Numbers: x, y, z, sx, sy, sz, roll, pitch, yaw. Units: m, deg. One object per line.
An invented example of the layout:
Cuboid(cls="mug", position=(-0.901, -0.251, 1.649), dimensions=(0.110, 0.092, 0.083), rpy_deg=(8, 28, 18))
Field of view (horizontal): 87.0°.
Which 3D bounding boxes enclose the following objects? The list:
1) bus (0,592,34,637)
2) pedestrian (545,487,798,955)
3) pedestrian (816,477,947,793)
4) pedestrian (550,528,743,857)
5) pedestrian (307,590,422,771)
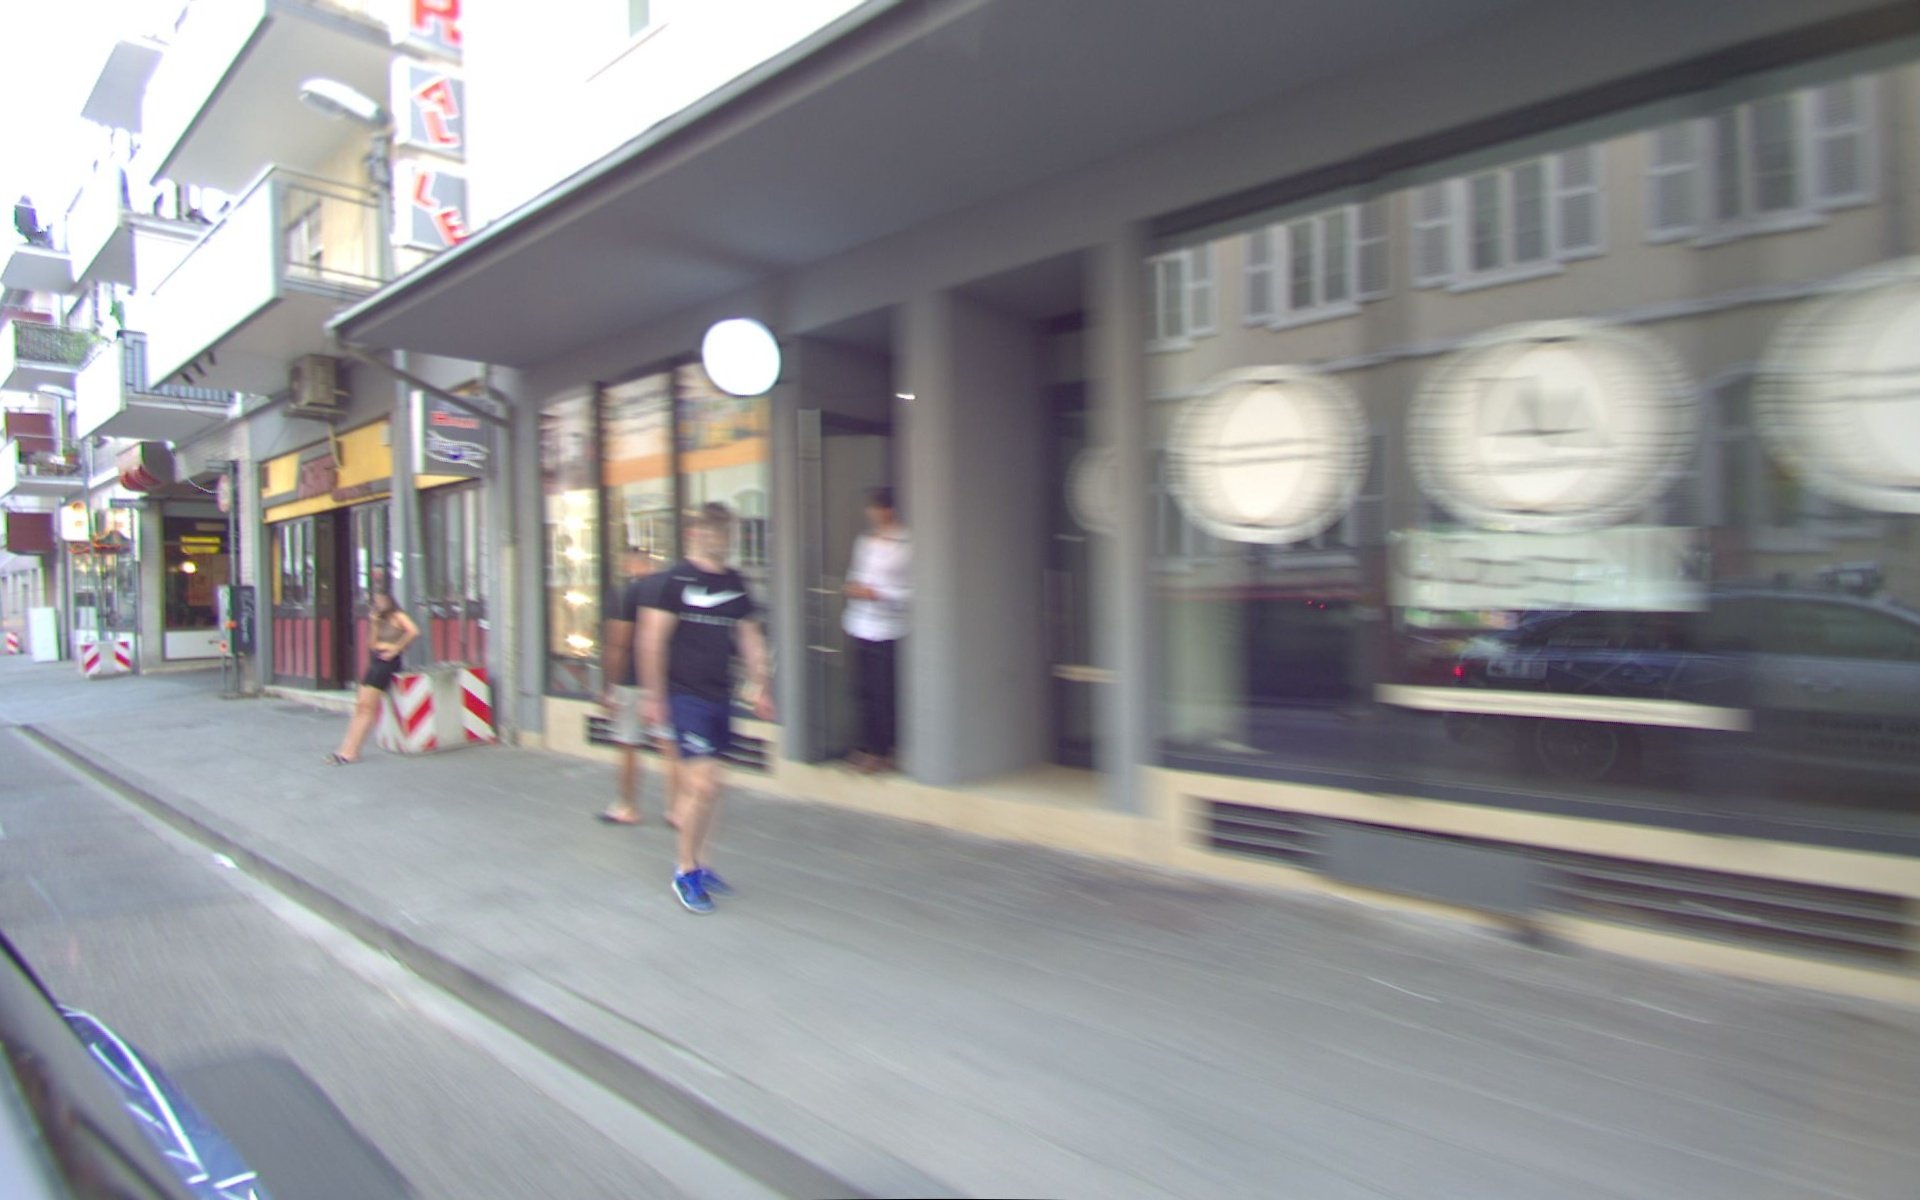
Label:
Cuboid(cls="bus", position=(-75.769, 1.068, 73.373), dimensions=(3.893, 3.350, 12.459), rpy_deg=(0, 0, 18))
Cuboid(cls="pedestrian", position=(-1.299, 0.477, 4.527), dimensions=(0.932, 1.824, 0.707), rpy_deg=(-1, -1, 42))
Cuboid(cls="pedestrian", position=(-0.489, 0.206, 6.267), dimensions=(0.613, 1.824, 0.538), rpy_deg=(-1, -1, 41))
Cuboid(cls="pedestrian", position=(-1.888, 0.504, 6.086), dimensions=(0.932, 1.795, 0.696), rpy_deg=(-1, 0, 41))
Cuboid(cls="pedestrian", position=(-5.538, 0.714, 9.424), dimensions=(0.612, 1.590, 0.702), rpy_deg=(-1, 1, 38))
